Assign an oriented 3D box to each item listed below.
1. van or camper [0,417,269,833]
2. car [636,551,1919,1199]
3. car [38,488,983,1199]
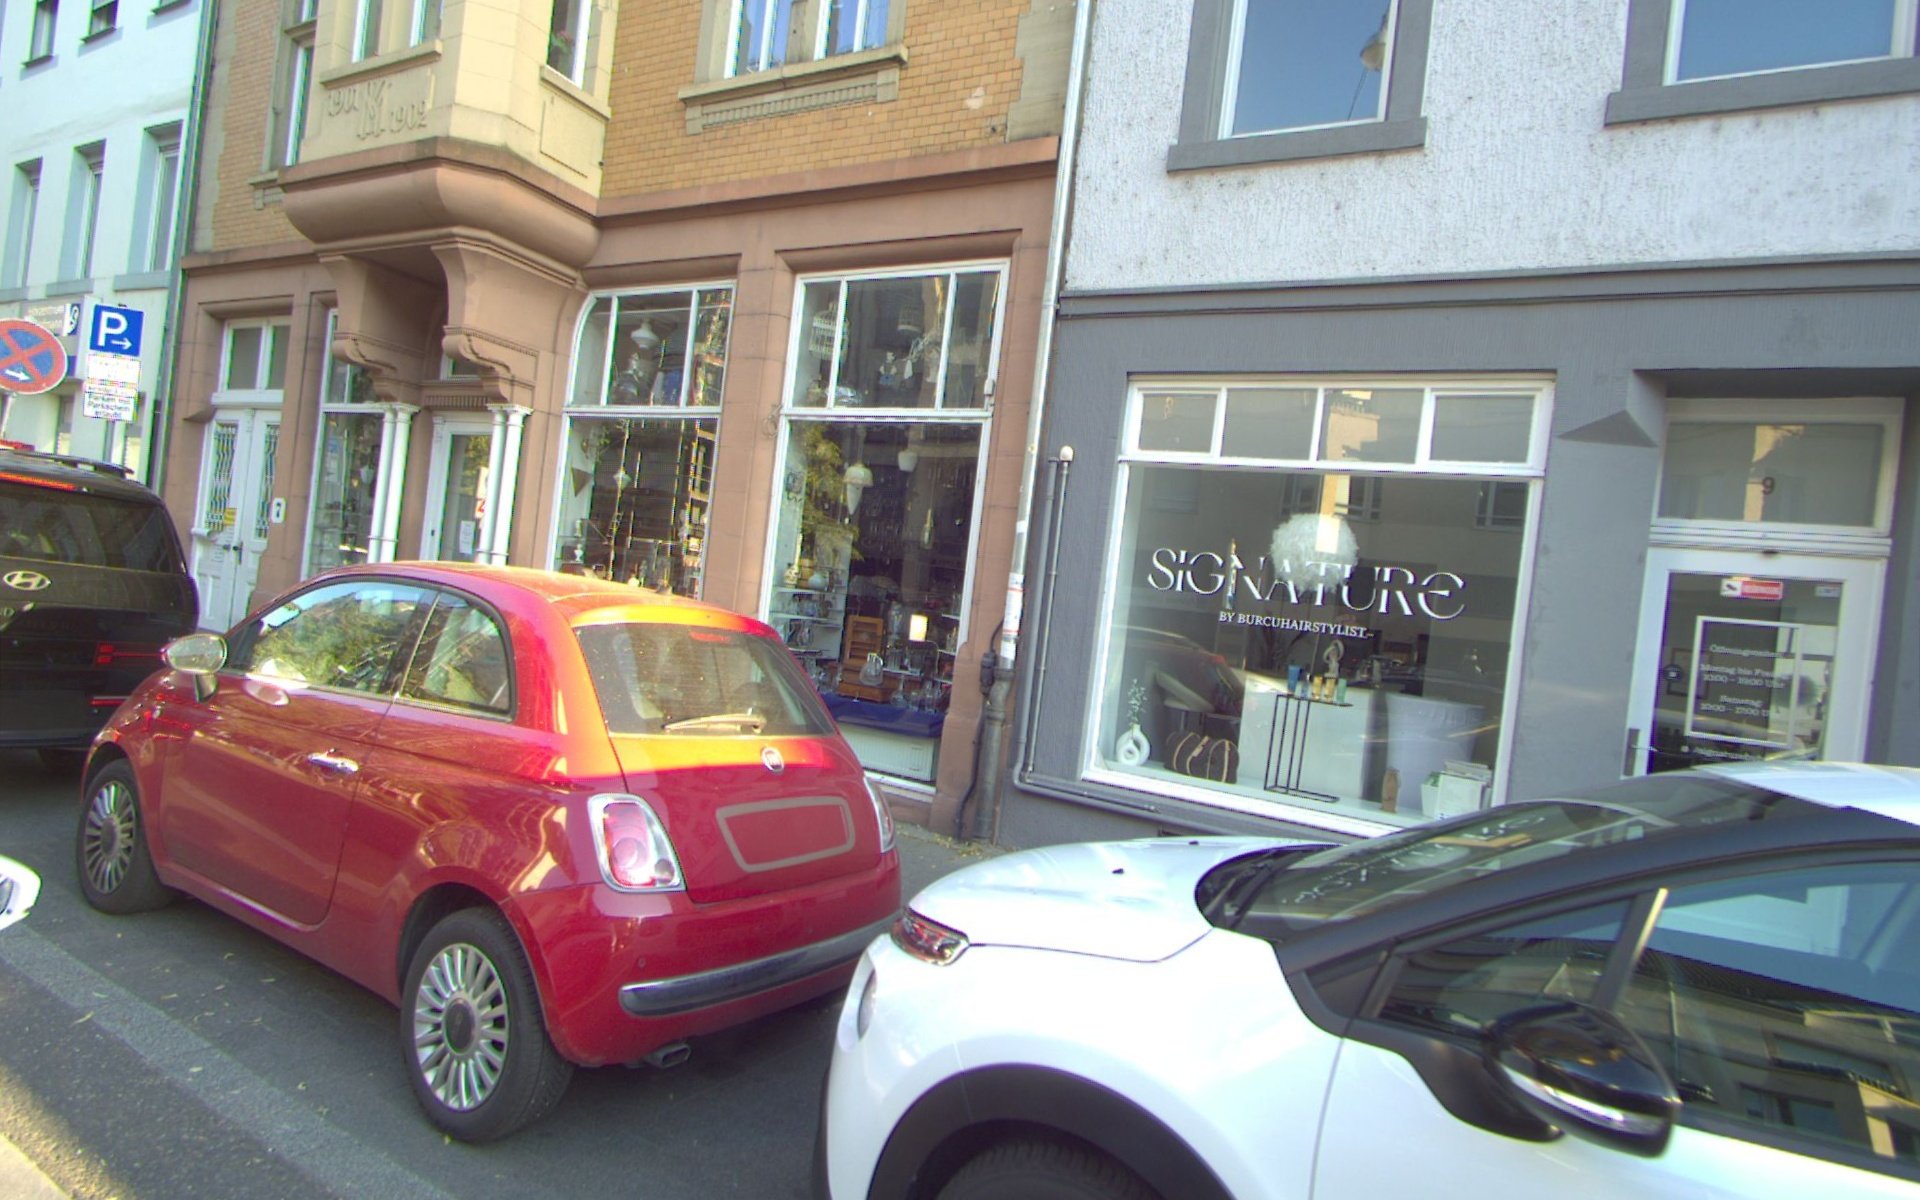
[{"bbox_3d":[-6.151,-0.098,5.402,4.380,1.829,1.895,7,-1,24],"label":"van or camper"},{"bbox_3d":[1.452,0.952,1.875,3.868,1.591,1.665,6,-2,30],"label":"car"},{"bbox_3d":[-1.825,0.570,3.865,3.365,1.588,1.529,7,-1,31],"label":"car"}]
